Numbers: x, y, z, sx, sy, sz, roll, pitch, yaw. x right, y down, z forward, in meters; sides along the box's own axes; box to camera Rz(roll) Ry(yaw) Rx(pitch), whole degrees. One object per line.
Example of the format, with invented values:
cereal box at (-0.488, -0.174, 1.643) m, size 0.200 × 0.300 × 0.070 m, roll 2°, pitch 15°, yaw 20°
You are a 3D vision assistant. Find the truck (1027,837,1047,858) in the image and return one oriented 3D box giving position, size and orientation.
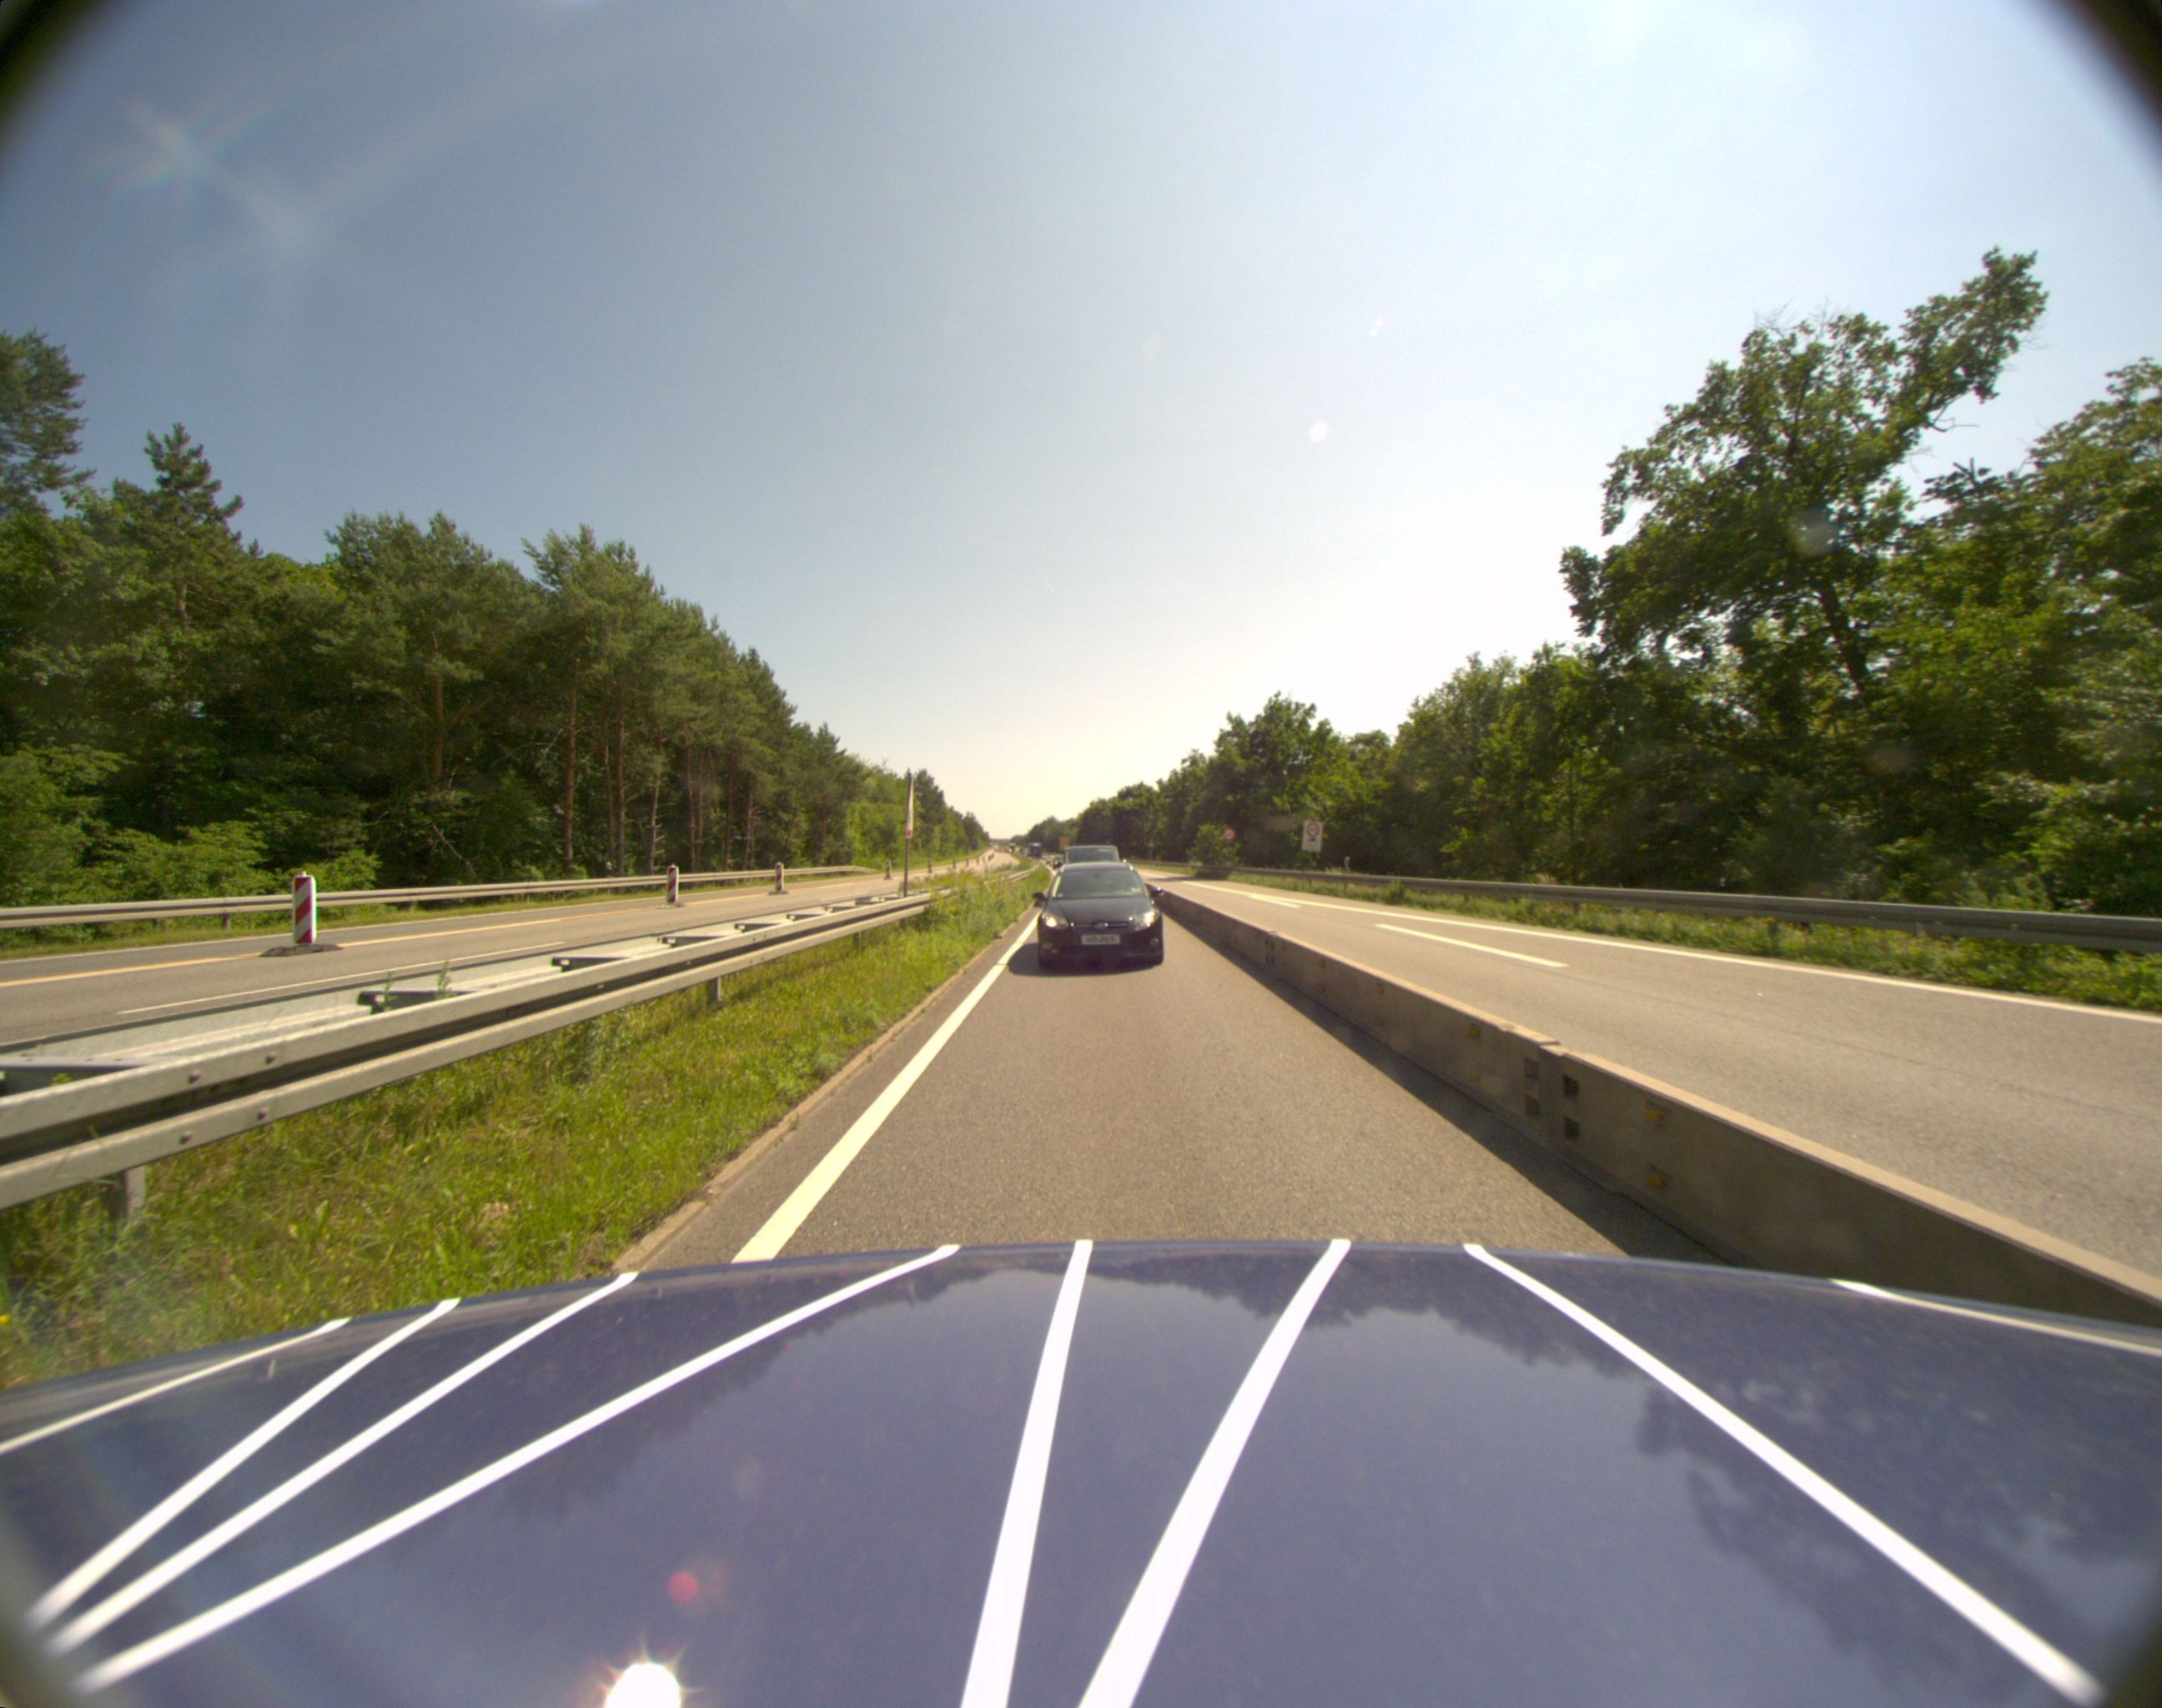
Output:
truck at (-11.478, -1.673, 195.512) m, size 3.832 × 5.266 × 11.237 m, roll -1°, pitch 0°, yaw -10°

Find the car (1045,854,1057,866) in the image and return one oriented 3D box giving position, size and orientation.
car at (-4.312, 0.853, 110.316) m, size 1.527 × 1.647 × 3.980 m, roll -1°, pitch 0°, yaw 0°

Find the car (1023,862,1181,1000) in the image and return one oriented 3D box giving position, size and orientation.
car at (0.245, 0.950, 11.627) m, size 1.847 × 1.537 × 4.935 m, roll -2°, pitch 0°, yaw 0°

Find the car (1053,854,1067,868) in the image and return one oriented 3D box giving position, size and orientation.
car at (-2.424, 0.781, 89.862) m, size 1.527 × 1.647 × 3.980 m, roll -1°, pitch 0°, yaw 0°

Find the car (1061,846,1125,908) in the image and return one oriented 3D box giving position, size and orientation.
car at (0.332, 0.723, 26.243) m, size 1.960 × 1.901 × 4.935 m, roll -1°, pitch 0°, yaw -1°

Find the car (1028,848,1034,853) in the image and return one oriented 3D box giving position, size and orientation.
car at (-15.912, -1.026, 241.498) m, size 1.527 × 1.647 × 3.980 m, roll -1°, pitch 0°, yaw 0°

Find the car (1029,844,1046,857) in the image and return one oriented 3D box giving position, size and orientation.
car at (-5.729, -0.455, 100.492) m, size 1.999 × 1.773 × 4.000 m, roll -1°, pitch 0°, yaw 0°
